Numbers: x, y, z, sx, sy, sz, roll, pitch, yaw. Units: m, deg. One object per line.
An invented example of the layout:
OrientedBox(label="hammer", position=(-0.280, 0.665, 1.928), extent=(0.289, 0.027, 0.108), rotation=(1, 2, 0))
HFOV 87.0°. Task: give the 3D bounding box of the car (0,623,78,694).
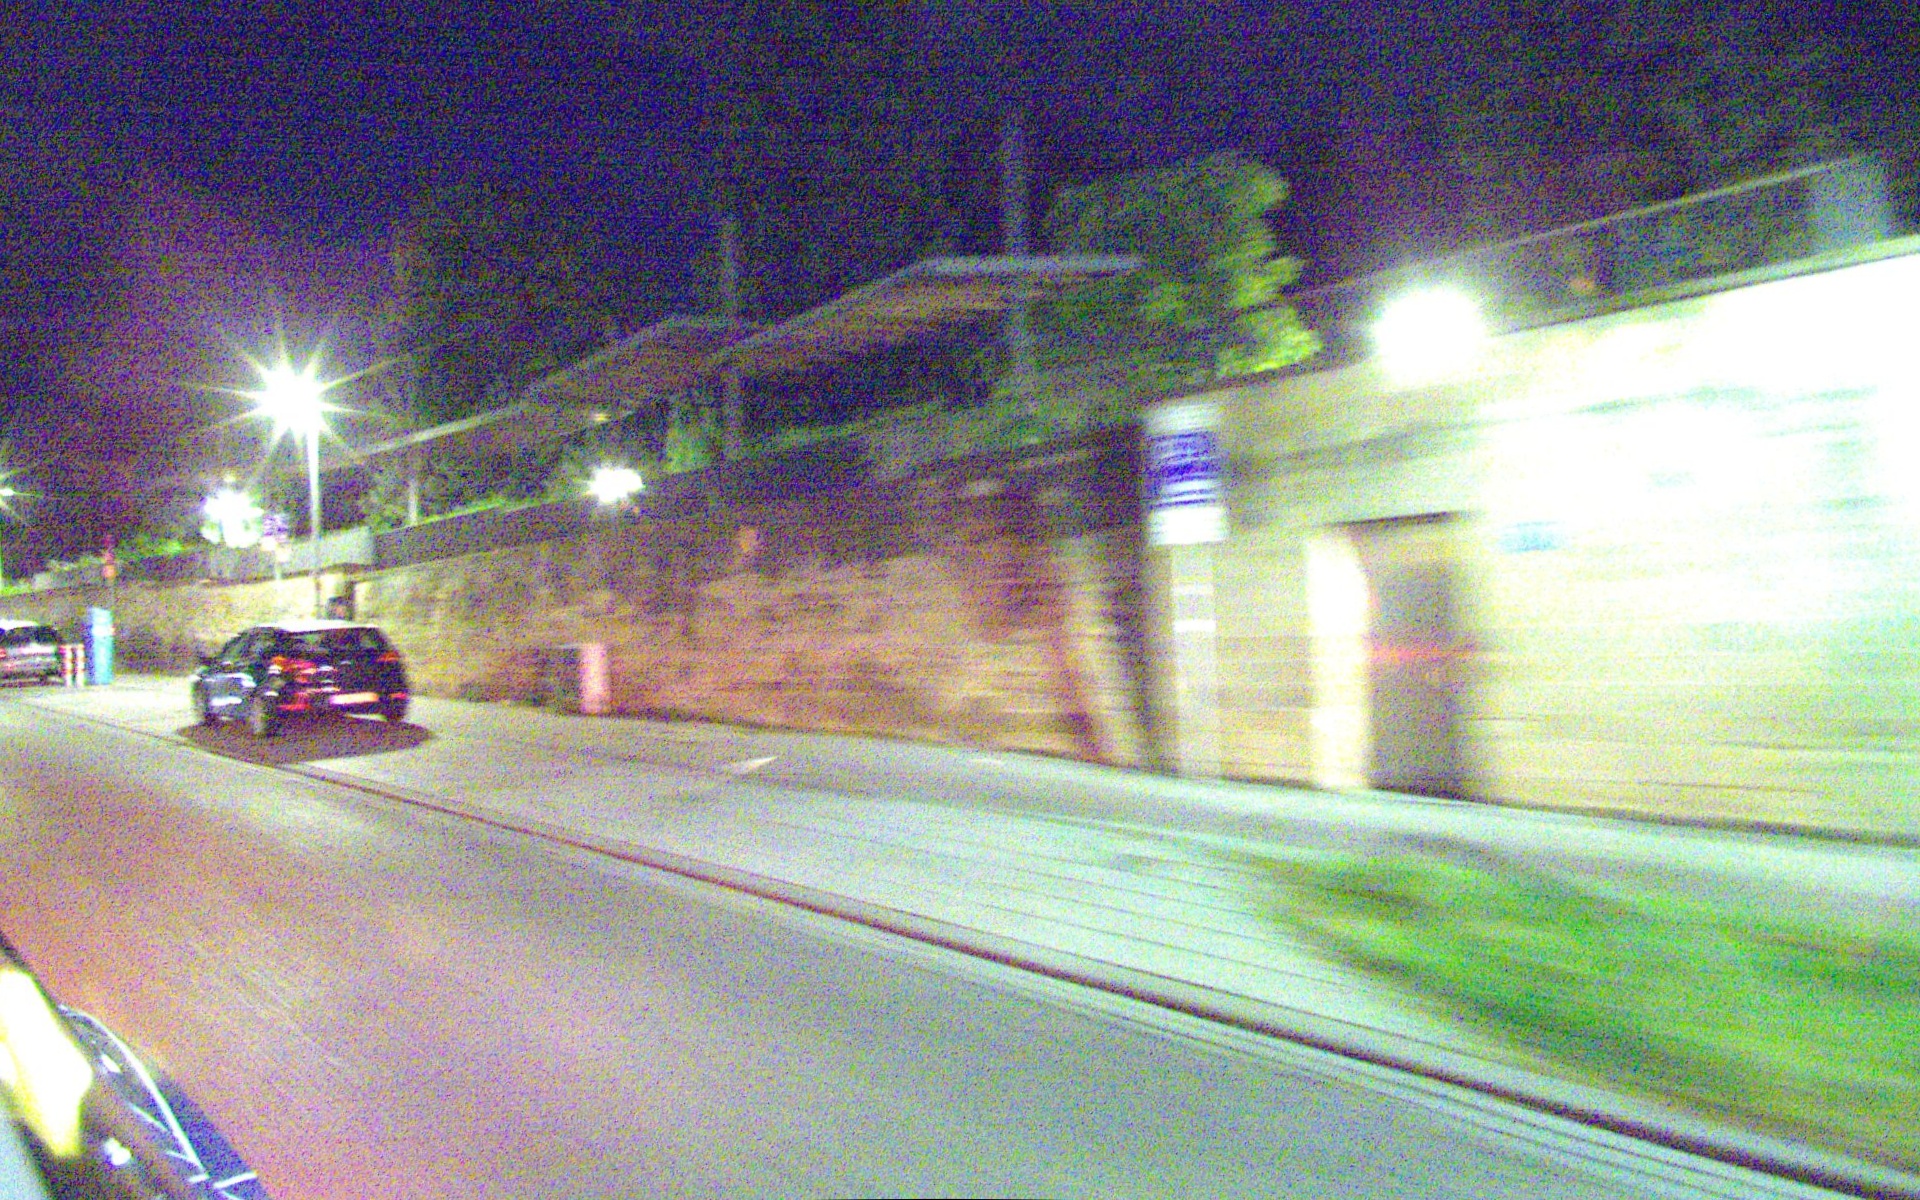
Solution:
OrientedBox(label="car", position=(-23.391, 1.388, 24.976), extent=(3.684, 1.535, 1.677), rotation=(0, 1, 36))

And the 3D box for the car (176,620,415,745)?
OrientedBox(label="car", position=(-9.499, 1.061, 14.342), extent=(4.124, 1.447, 1.675), rotation=(-2, 1, 40))
